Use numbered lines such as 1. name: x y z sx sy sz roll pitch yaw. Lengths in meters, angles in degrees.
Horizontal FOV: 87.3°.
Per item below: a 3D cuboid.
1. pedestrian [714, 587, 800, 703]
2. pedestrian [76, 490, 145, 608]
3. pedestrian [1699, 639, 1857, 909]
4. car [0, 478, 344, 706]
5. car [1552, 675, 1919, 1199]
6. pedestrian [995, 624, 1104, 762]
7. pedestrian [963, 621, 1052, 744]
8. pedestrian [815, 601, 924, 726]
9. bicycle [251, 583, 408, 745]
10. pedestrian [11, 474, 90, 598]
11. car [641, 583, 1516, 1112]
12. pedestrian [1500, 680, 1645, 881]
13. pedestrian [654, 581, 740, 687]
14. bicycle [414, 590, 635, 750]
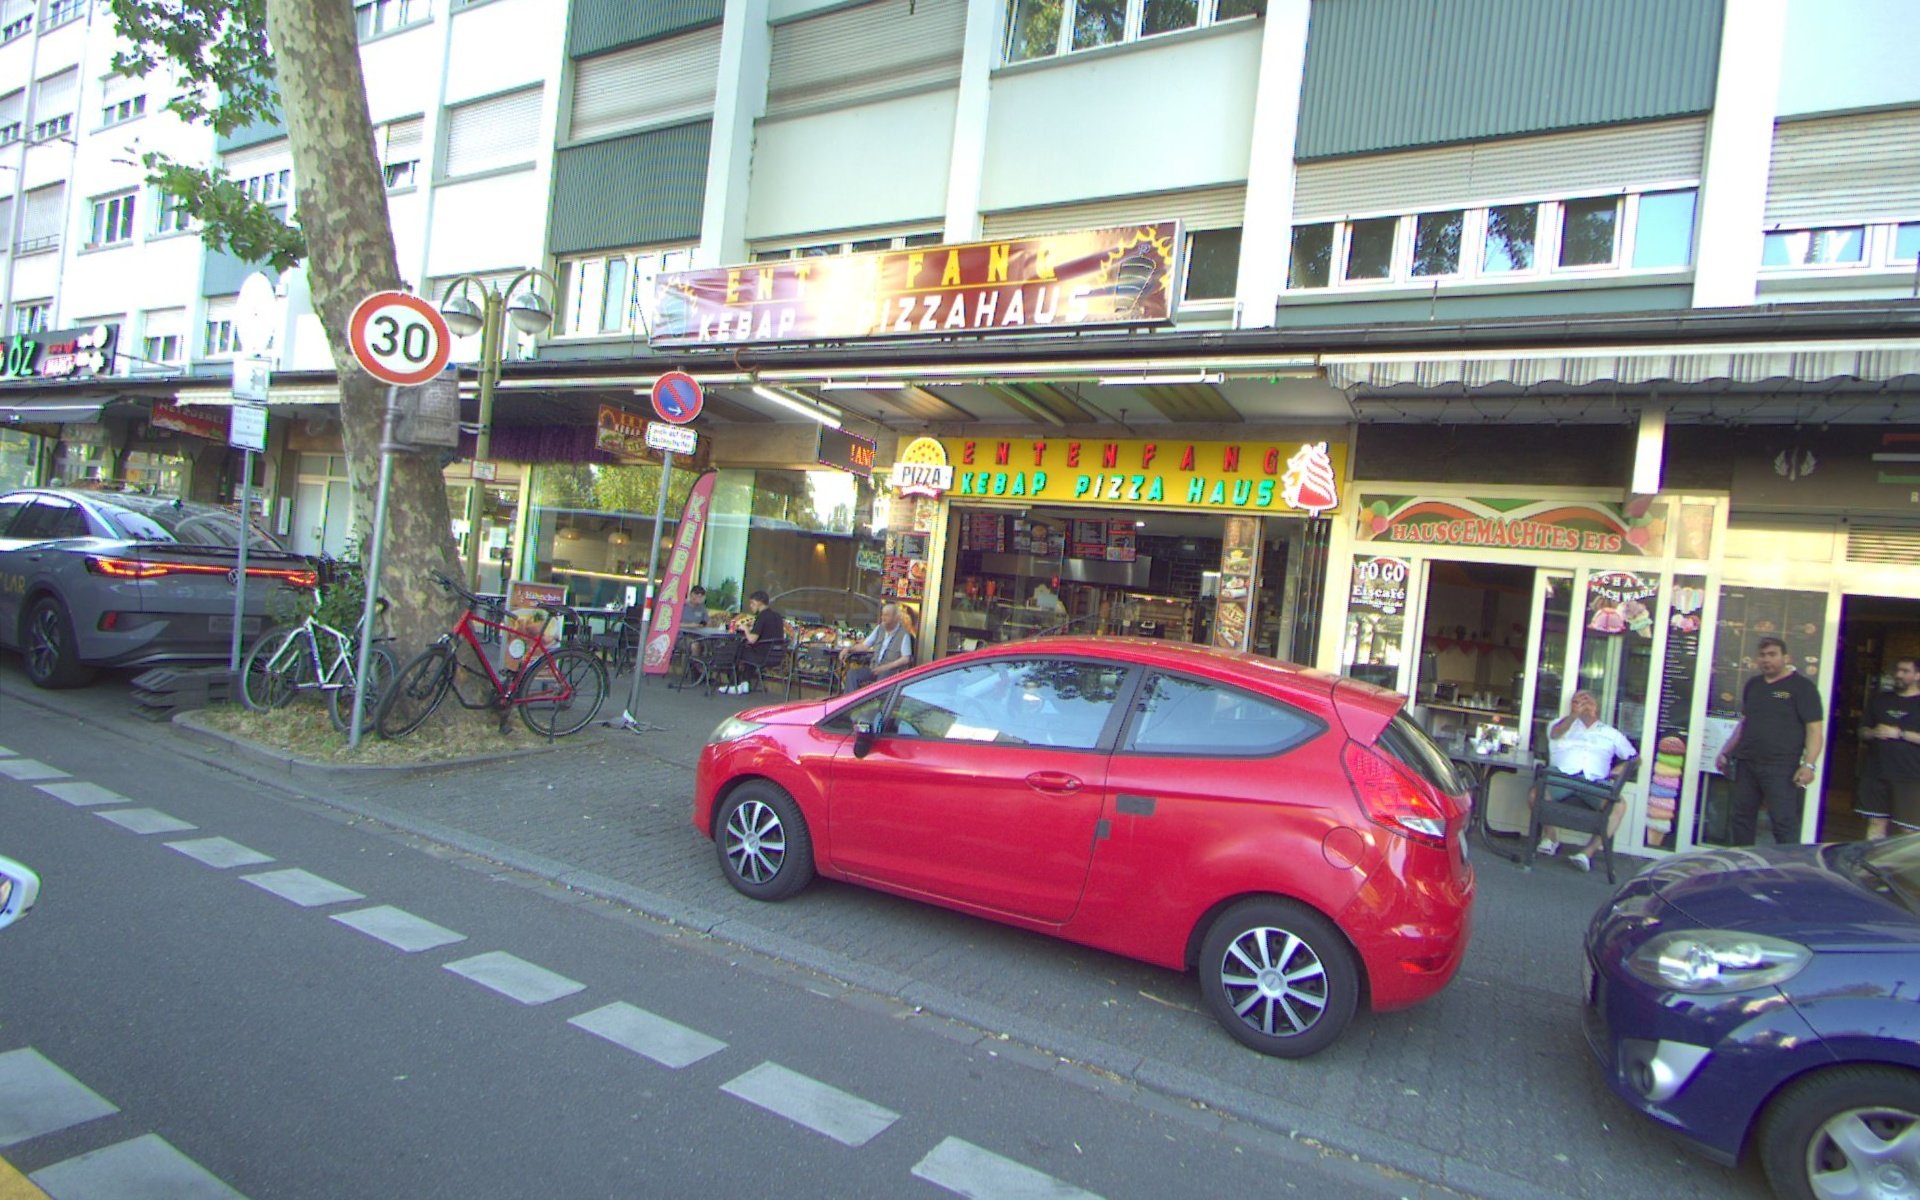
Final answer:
1. pedestrian: -2.384 0.514 11.791 0.701 1.260 0.614 7 3 41
2. pedestrian: -15.414 -0.917 18.262 0.685 2.038 0.613 7 1 30
3. pedestrian: 5.777 1.190 7.151 0.579 1.759 0.596 8 3 29
4. car: -7.835 -0.201 9.205 4.223 1.619 1.742 7 2 27
5. car: 3.888 1.224 2.917 3.543 1.485 1.620 7 2 29
6. pedestrian: 0.838 0.842 9.404 0.740 1.172 0.593 6 3 33
7. pedestrian: 0.498 0.829 10.374 0.585 1.172 0.671 6 3 31
8. pedestrian: -0.973 0.666 10.859 0.861 1.237 0.688 2 3 -44
9. bicycle: -4.439 0.427 7.072 1.110 0.941 0.295 9 6 21
10. pedestrian: -15.784 -1.101 17.458 0.684 2.038 0.692 7 1 29
11. car: 0.483 0.847 4.986 3.780 1.448 1.668 7 2 27
12. pedestrian: 4.643 1.299 7.615 0.767 1.249 1.202 6 3 33
13. pedestrian: -3.230 0.412 12.354 0.694 1.220 0.675 7 3 42
14. bicycle: -3.227 0.507 7.551 0.291 1.082 1.455 12 7 42
